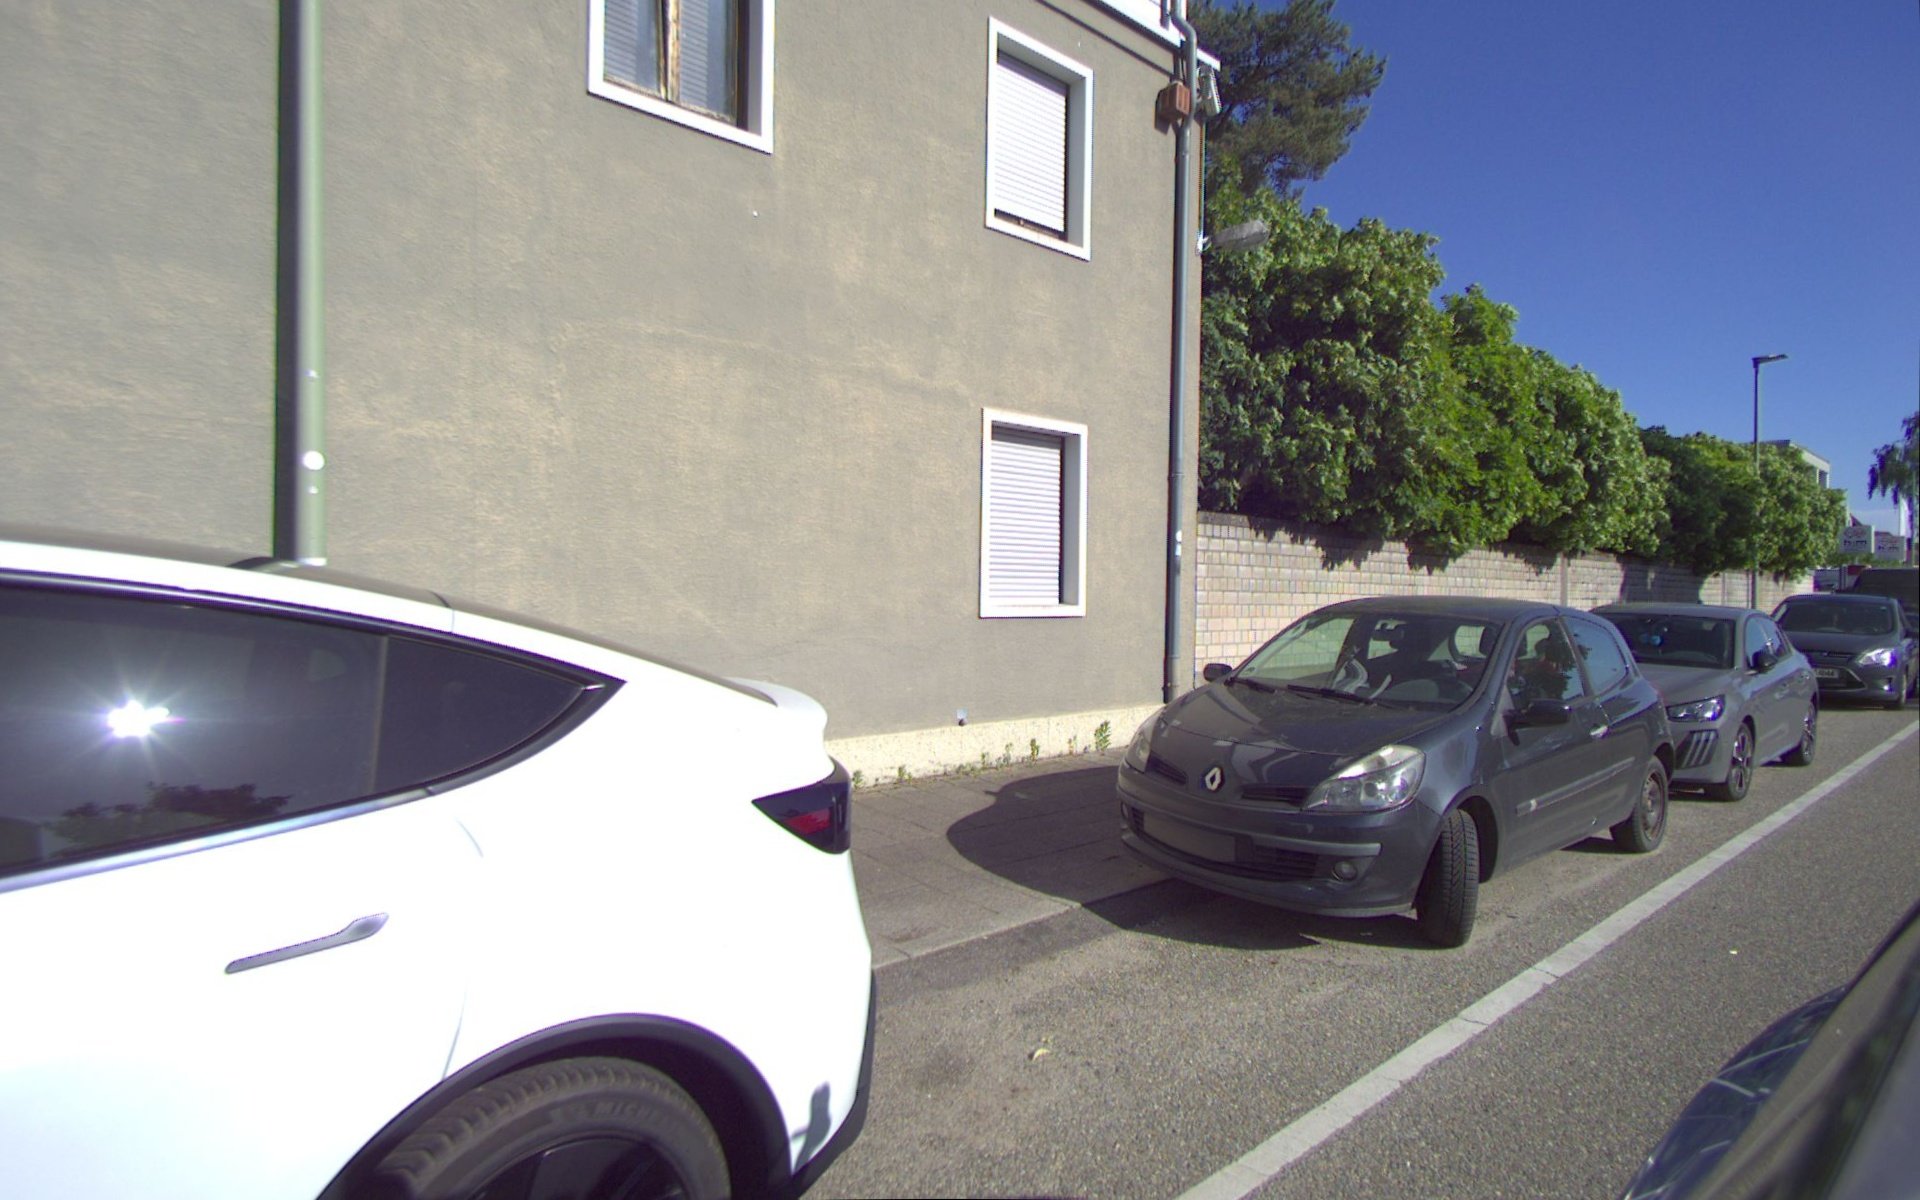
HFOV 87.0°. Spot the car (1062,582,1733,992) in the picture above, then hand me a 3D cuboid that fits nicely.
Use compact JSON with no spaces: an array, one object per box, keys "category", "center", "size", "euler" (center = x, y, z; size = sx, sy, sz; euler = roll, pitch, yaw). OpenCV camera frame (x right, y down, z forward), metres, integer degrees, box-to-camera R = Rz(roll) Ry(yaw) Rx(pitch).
[{"category":"car","center":[2.623,0.674,5.608],"size":[4.112,1.491,1.603],"euler":[0,1,-37]}]

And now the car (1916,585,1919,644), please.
[{"category":"car","center":[31.072,0.390,31.259],"size":[4.828,1.766,1.804],"euler":[-1,0,-42]}]

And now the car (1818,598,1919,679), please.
[{"category":"car","center":[17.476,0.651,18.862],"size":[4.032,1.335,1.658],"euler":[0,1,-41]}]

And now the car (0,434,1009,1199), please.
[{"category":"car","center":[-2.268,0.625,1.349],"size":[4.689,1.665,1.934],"euler":[0,1,-43]}]

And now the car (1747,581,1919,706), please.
[{"category":"car","center":[13.442,0.573,15.269],"size":[4.131,1.634,1.684],"euler":[0,-1,-41]}]

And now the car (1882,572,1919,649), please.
[{"category":"car","center":[26.533,0.269,27.290],"size":[4.834,1.950,1.895],"euler":[0,1,-41]}]

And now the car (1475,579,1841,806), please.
[{"category":"car","center":[6.182,0.612,8.794],"size":[3.961,1.523,1.662],"euler":[0,1,-41]}]

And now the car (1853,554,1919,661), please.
[{"category":"car","center":[22.280,0.152,23.293],"size":[5.055,2.288,1.895],"euler":[0,1,-41]}]
